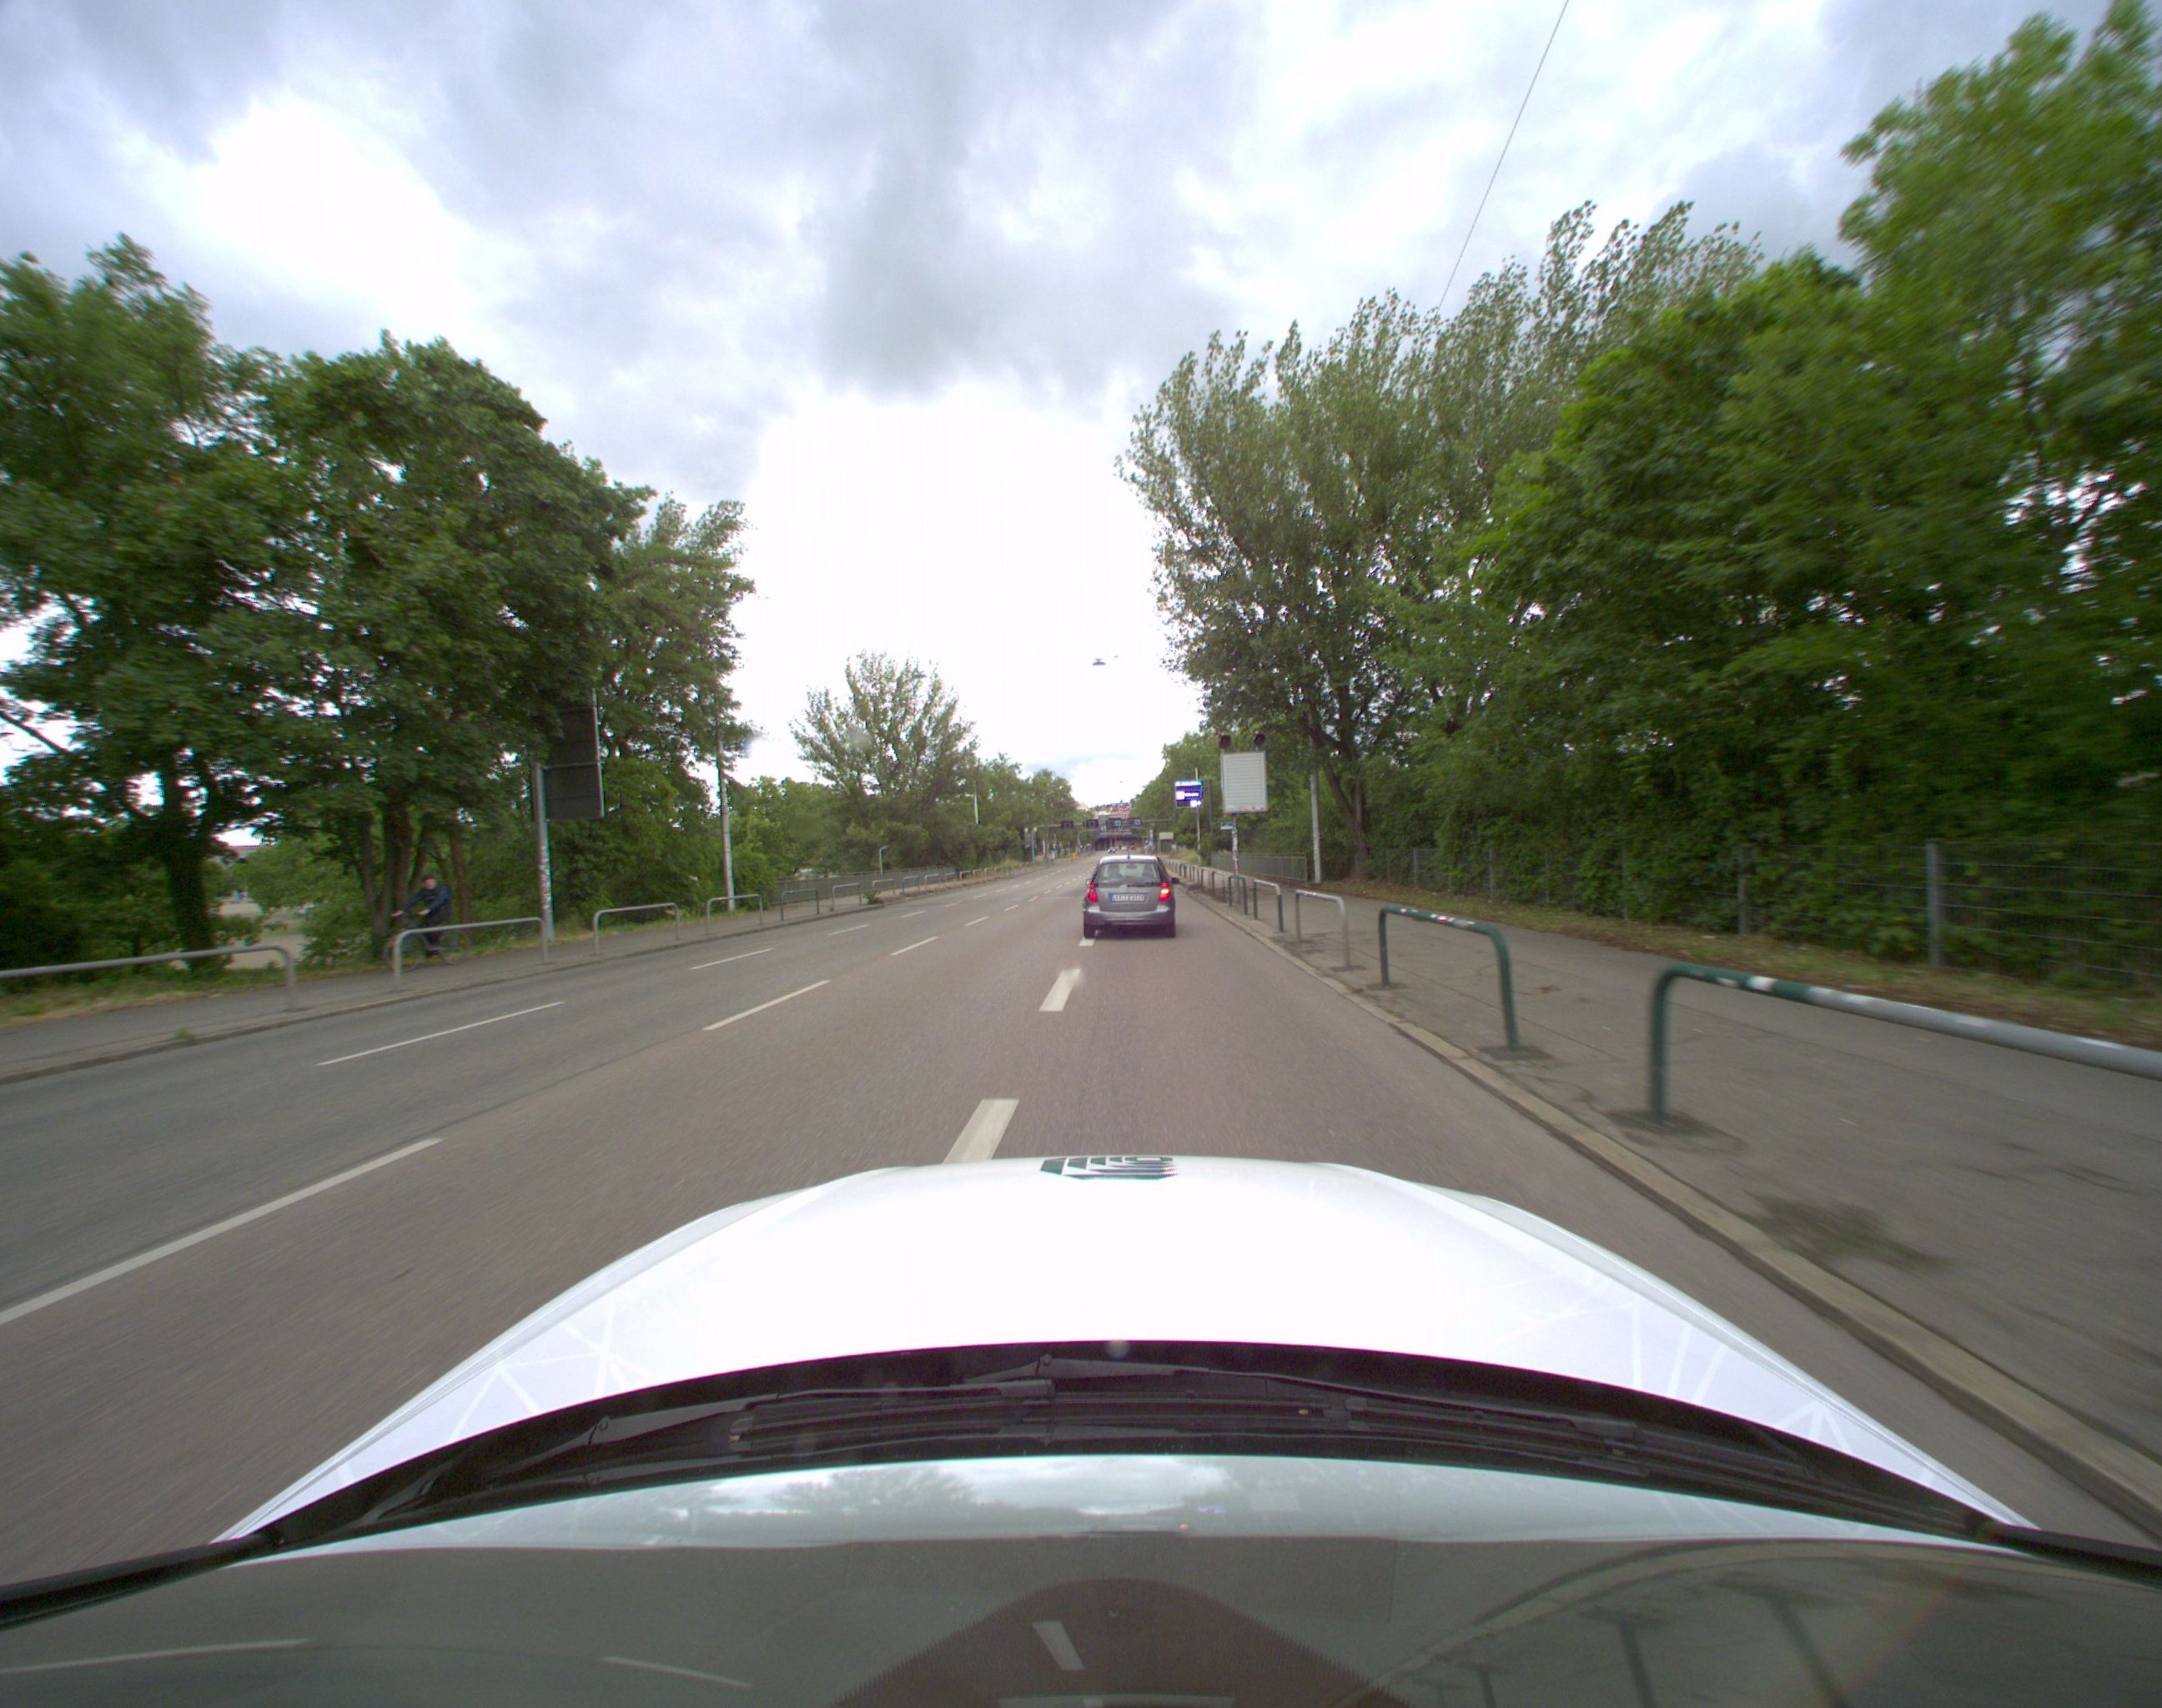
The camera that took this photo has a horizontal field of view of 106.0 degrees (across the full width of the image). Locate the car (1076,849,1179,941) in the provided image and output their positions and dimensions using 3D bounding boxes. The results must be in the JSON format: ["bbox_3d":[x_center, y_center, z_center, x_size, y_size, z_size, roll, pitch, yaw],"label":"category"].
[{"bbox_3d":[1.054,0.756,16.792,1.817,1.616,4.041,-2,0,6],"label":"car"}]

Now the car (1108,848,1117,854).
[{"bbox_3d":[8.919,-0.806,230.673,1.983,1.660,4.525,-4,0,6],"label":"car"}]

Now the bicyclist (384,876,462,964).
[{"bbox_3d":[-12.066,1.187,14.967,0.513,1.516,0.985,-3,0,2],"label":"bicyclist"}]

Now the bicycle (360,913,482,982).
[{"bbox_3d":[-12.051,1.675,14.956,0.482,1.002,2.003,-3,0,2],"label":"bicycle"}]
